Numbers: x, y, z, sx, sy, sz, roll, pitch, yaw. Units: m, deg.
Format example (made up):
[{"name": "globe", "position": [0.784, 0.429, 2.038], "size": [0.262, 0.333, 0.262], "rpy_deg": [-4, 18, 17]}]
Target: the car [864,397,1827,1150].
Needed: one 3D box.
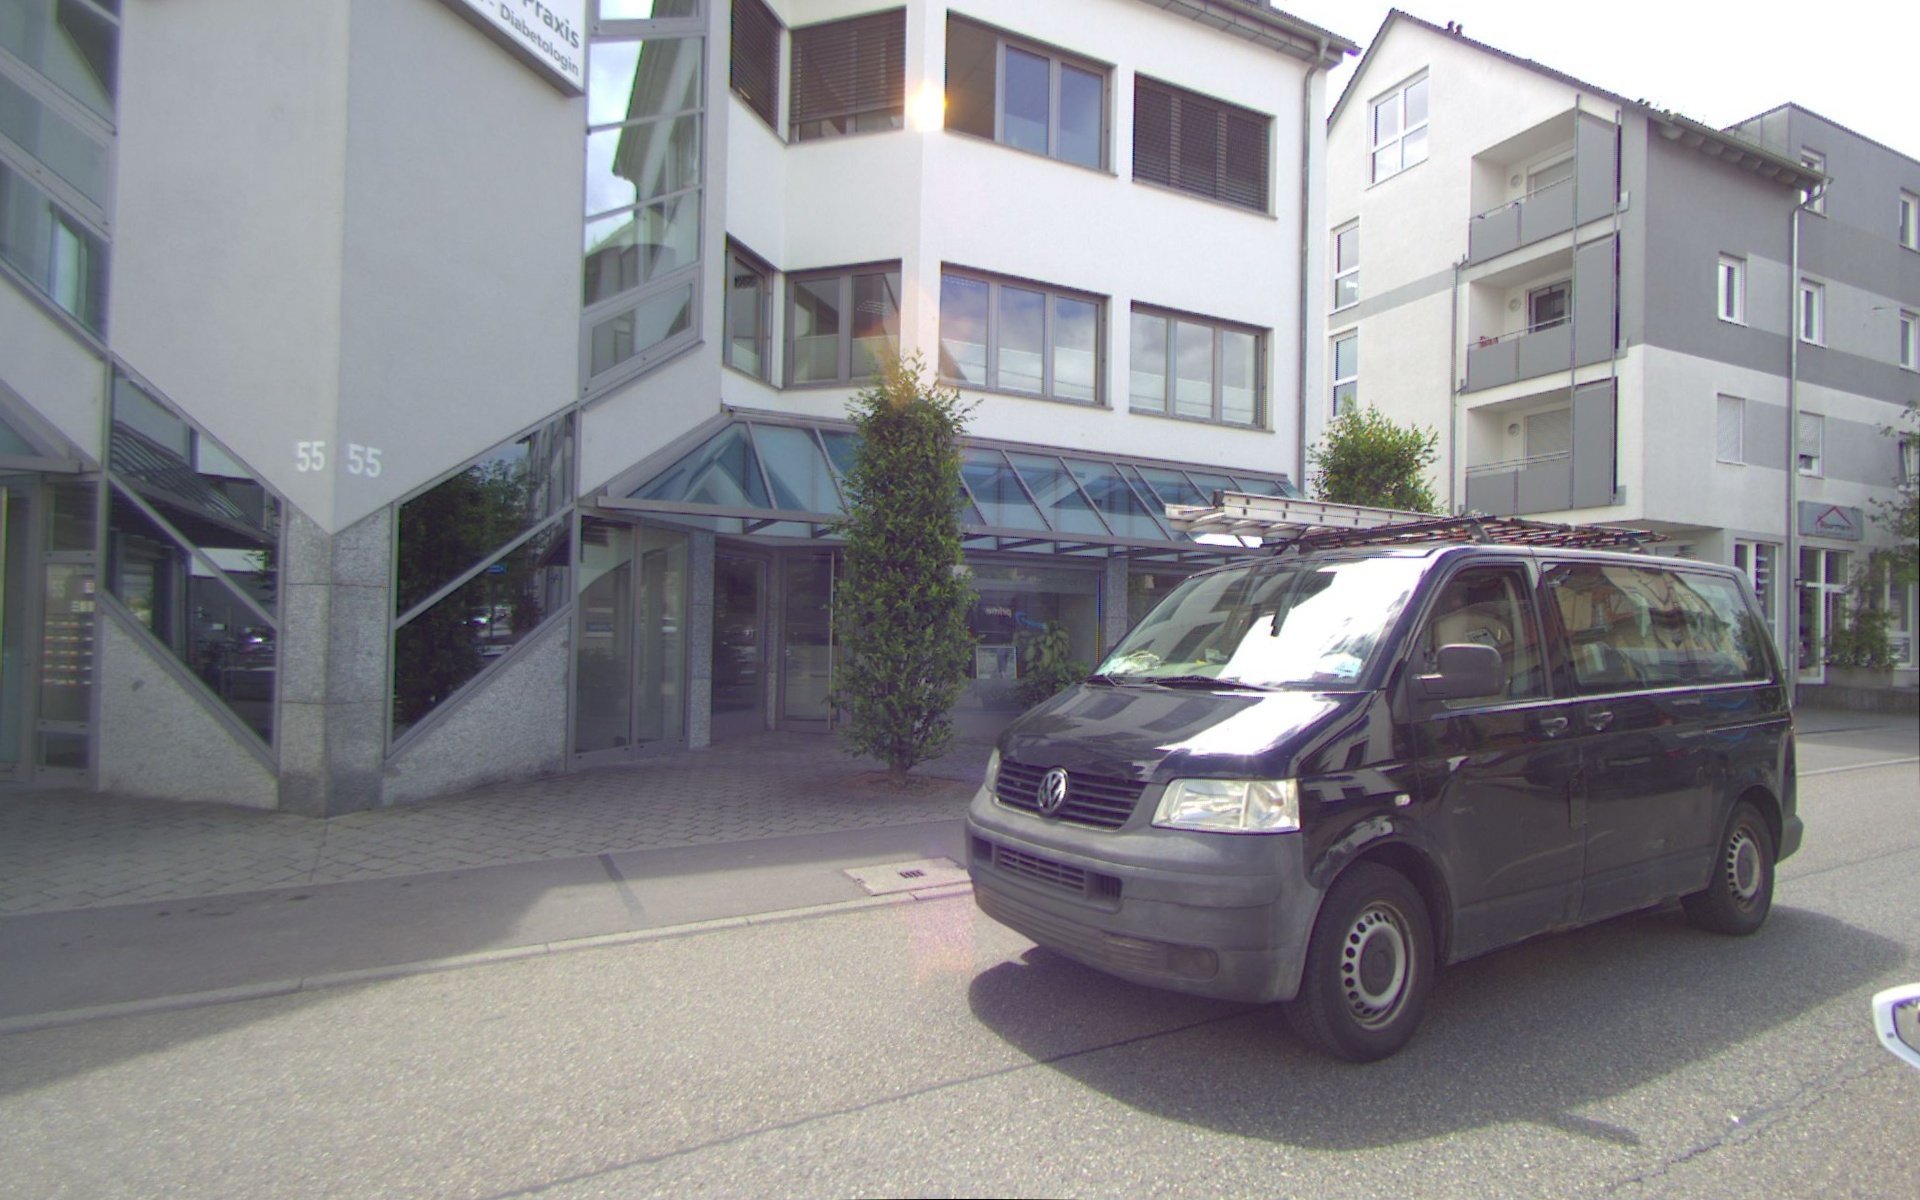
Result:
[{"name": "car", "position": [2.141, 0.587, 5.110], "size": [4.829, 2.180, 2.100], "rpy_deg": [2, -3, -32]}]
